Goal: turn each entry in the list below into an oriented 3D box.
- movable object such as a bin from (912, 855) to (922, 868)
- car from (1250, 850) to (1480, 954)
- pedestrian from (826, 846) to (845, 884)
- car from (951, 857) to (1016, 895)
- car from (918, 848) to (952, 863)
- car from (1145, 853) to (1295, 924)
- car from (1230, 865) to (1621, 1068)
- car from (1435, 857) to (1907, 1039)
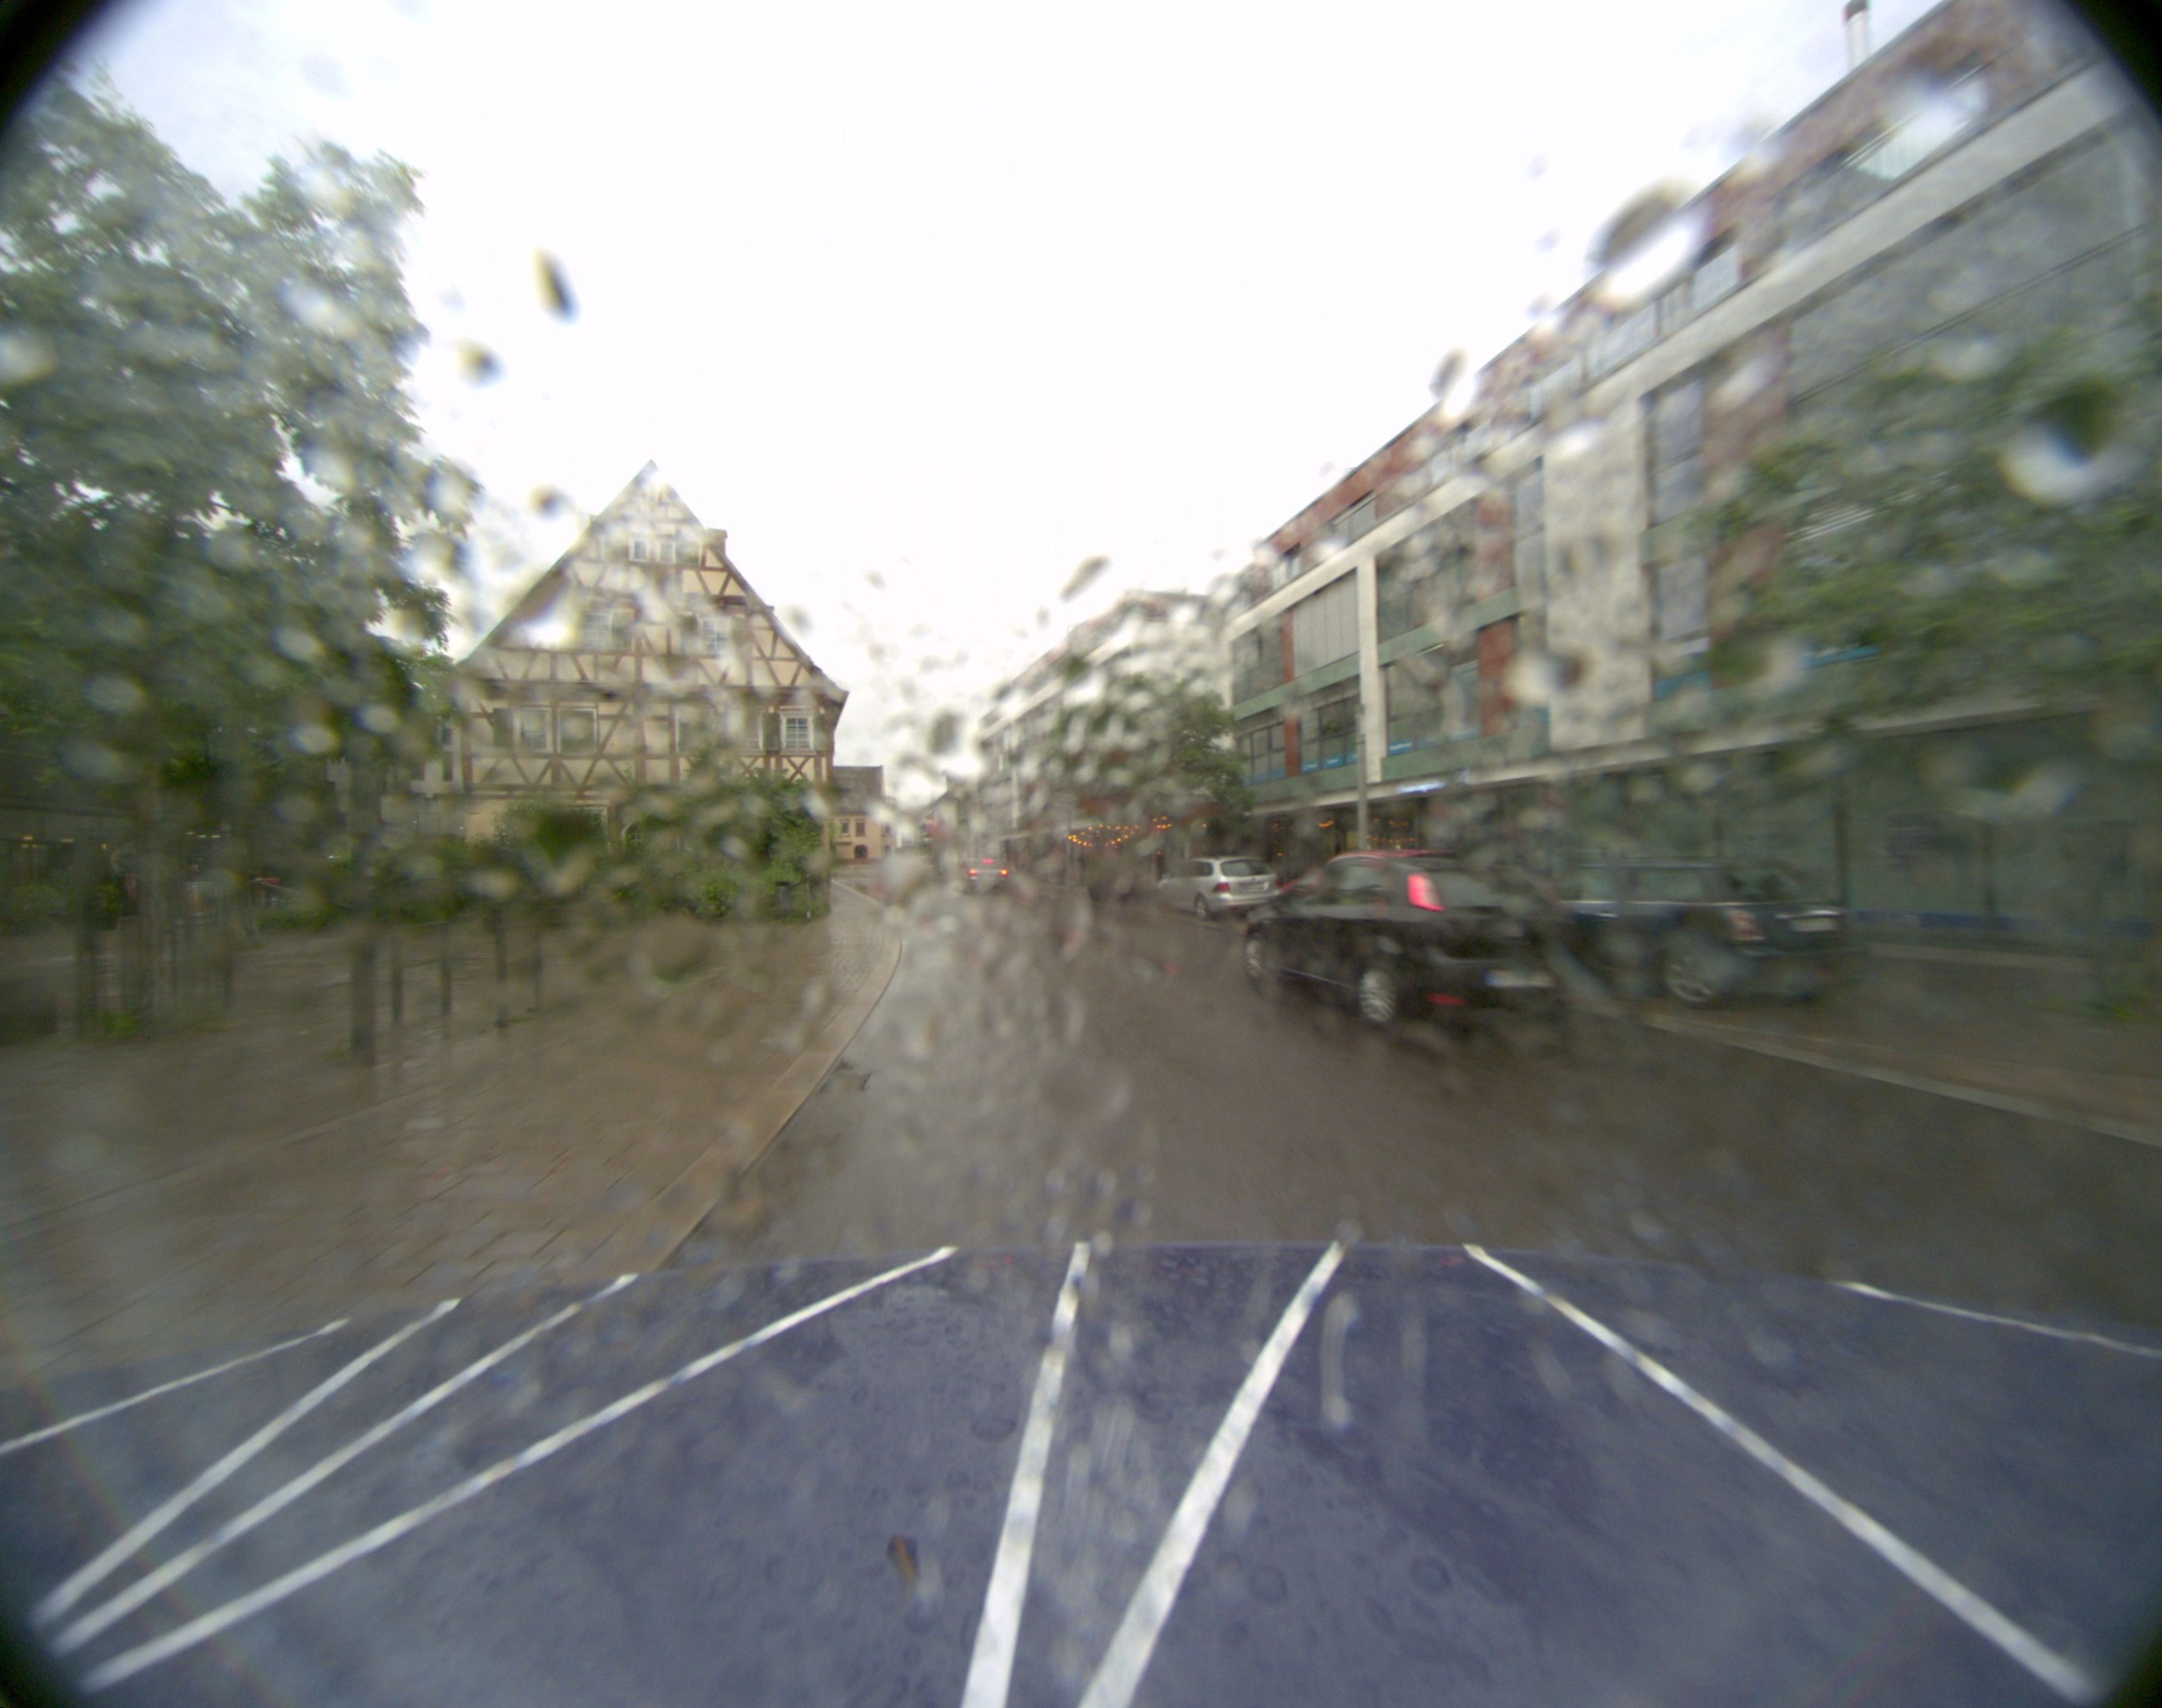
[{"bbox_3d":[-13.818,0.643,64.043,0.690,1.075,0.759,-4,3,-23],"label":"movable object such as a bin"},{"bbox_3d":[4.913,0.723,13.837,1.794,1.567,4.100,0,1,-17],"label":"car"},{"bbox_3d":[-12.378,0.554,38.336,0.814,1.874,0.906,1,0,-23],"label":"pedestrian"},{"bbox_3d":[-4.098,0.863,31.429,1.798,1.409,4.021,1,0,-21],"label":"car"},{"bbox_3d":[-20.415,0.170,106.534,4.487,2.002,1.999,1,0,-5],"label":"car"},{"bbox_3d":[3.237,0.731,18.715,1.794,1.490,4.447,0,1,-17],"label":"car"},{"bbox_3d":[2.981,0.852,7.624,1.654,1.437,3.980,0,0,-9],"label":"car"},{"bbox_3d":[6.046,0.797,8.455,1.721,1.449,3.905,-2,1,-14],"label":"car"}]
